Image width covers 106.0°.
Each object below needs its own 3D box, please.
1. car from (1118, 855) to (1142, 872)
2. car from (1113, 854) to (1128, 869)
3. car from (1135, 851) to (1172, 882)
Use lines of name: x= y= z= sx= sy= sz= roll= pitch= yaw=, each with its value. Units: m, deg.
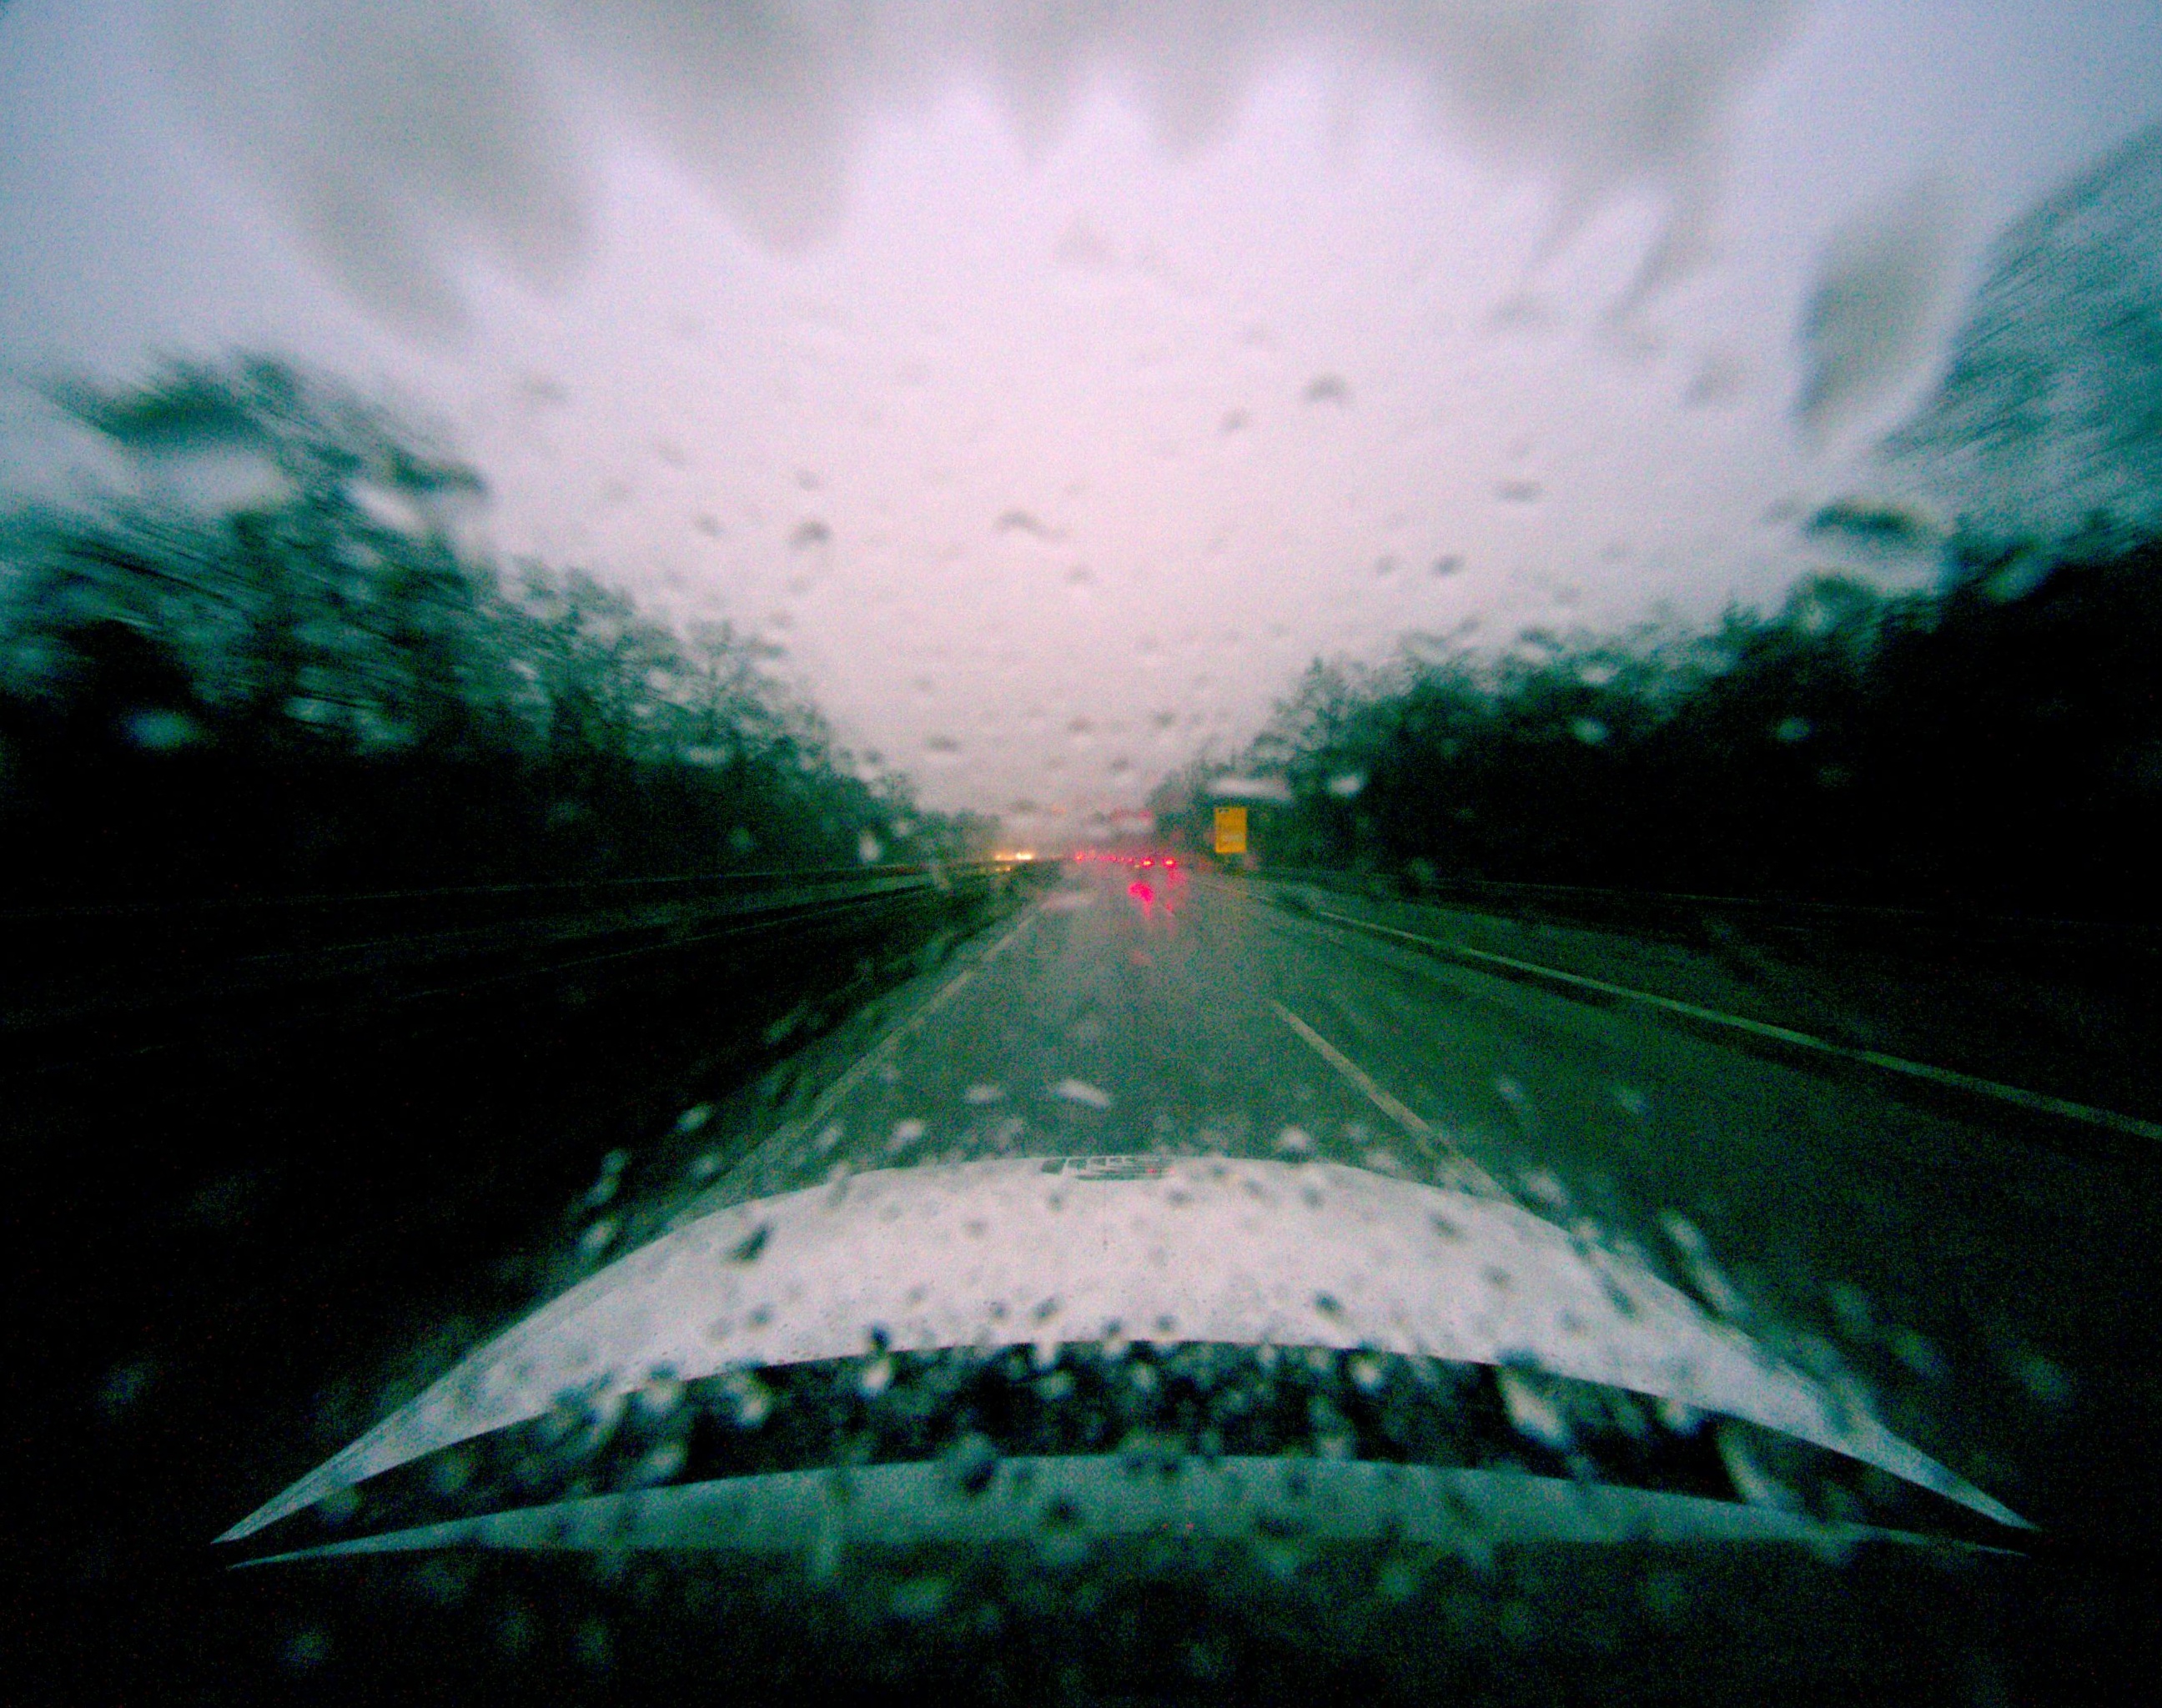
car: x=4.431 y=0.862 z=74.017 sx=1.986 sy=1.420 sz=4.000 roll=1 pitch=-1 yaw=1
car: x=5.762 y=1.089 z=118.938 sx=1.987 sy=2.014 sz=4.000 roll=0 pitch=-1 yaw=0
car: x=4.181 y=0.739 z=47.633 sx=1.984 sy=1.715 sz=3.832 roll=-1 pitch=-1 yaw=2
